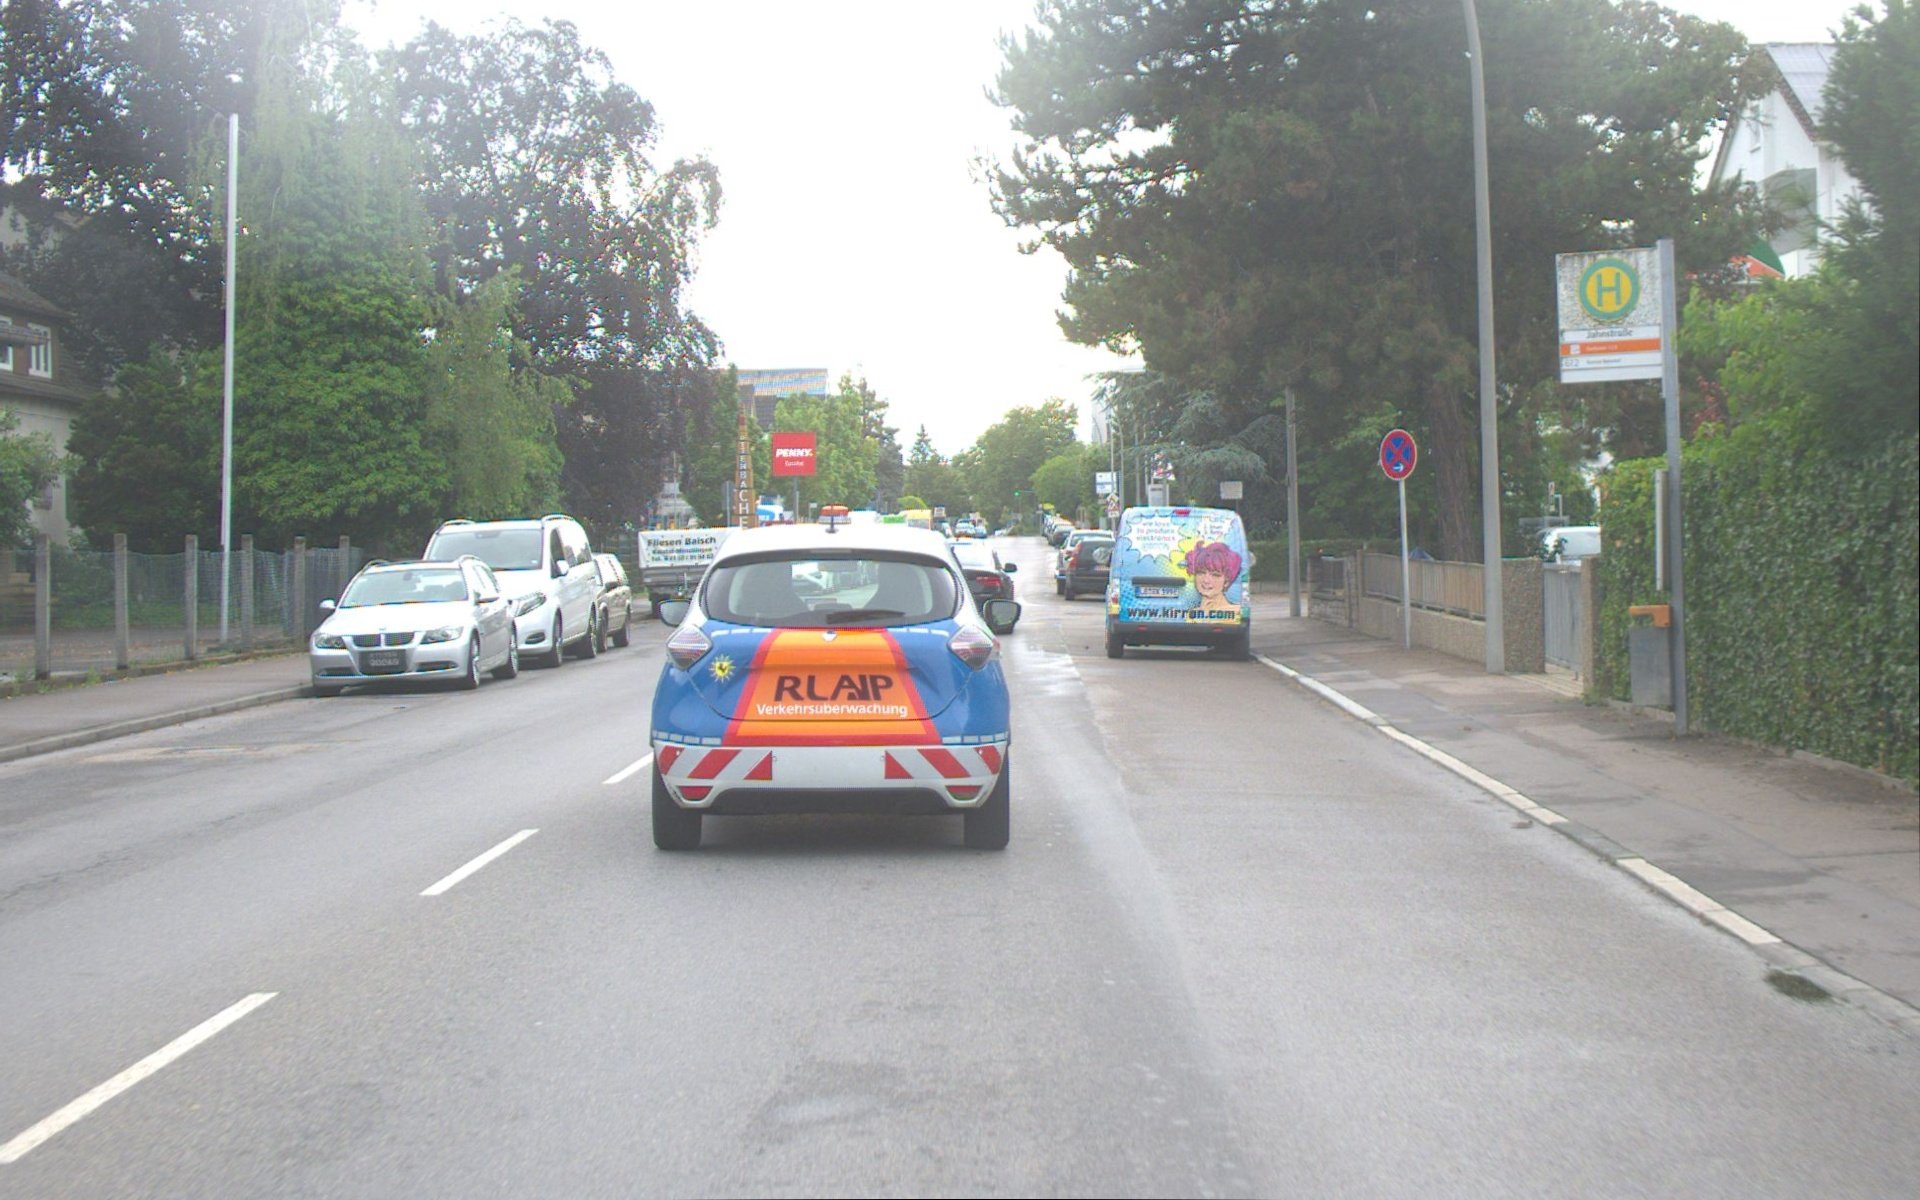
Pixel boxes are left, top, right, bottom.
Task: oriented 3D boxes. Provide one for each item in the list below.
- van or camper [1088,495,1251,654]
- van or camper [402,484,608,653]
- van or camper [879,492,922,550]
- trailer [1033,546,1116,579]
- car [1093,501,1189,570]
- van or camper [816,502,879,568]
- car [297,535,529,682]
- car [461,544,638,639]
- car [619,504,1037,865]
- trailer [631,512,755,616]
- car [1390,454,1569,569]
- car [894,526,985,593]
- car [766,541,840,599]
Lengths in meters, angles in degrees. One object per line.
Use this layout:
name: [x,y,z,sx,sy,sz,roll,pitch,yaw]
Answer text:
van or camper: [2.579,-0.351,43.094,1.754,1.876,4.000,-1,1,0]
van or camper: [-5.811,-0.350,44.509,1.890,2.007,5.097,2,-1,1]
van or camper: [-2.868,-3.845,166.697,1.993,2.765,5.441,-1,1,0]
trailer: [2.810,-0.936,85.107,1.938,0.751,2.859,-1,1,0]
car: [4.207,-1.515,80.346,1.993,1.531,4.000,-1,1,0]
van or camper: [-4.141,-2.416,127.053,2.161,2.345,4.334,-1,1,0]
car: [-5.986,0.120,38.084,1.742,1.475,4.183,-2,-1,2]
car: [-5.942,-0.149,50.196,1.993,1.284,4.000,-1,1,2]
car: [-0.677,0.345,17.731,1.888,1.626,4.001,-1,1,-2]
trailer: [-5.508,-0.721,71.500,2.220,2.007,4.436,2,-1,-1]
car: [7.583,-1.274,50.562,1.993,1.481,4.000,2,-1,0]
car: [-0.493,-1.037,87.297,1.994,1.415,4.000,-3,3,3]
car: [-4.665,-0.889,102.609,1.993,1.590,4.000,2,-1,0]
